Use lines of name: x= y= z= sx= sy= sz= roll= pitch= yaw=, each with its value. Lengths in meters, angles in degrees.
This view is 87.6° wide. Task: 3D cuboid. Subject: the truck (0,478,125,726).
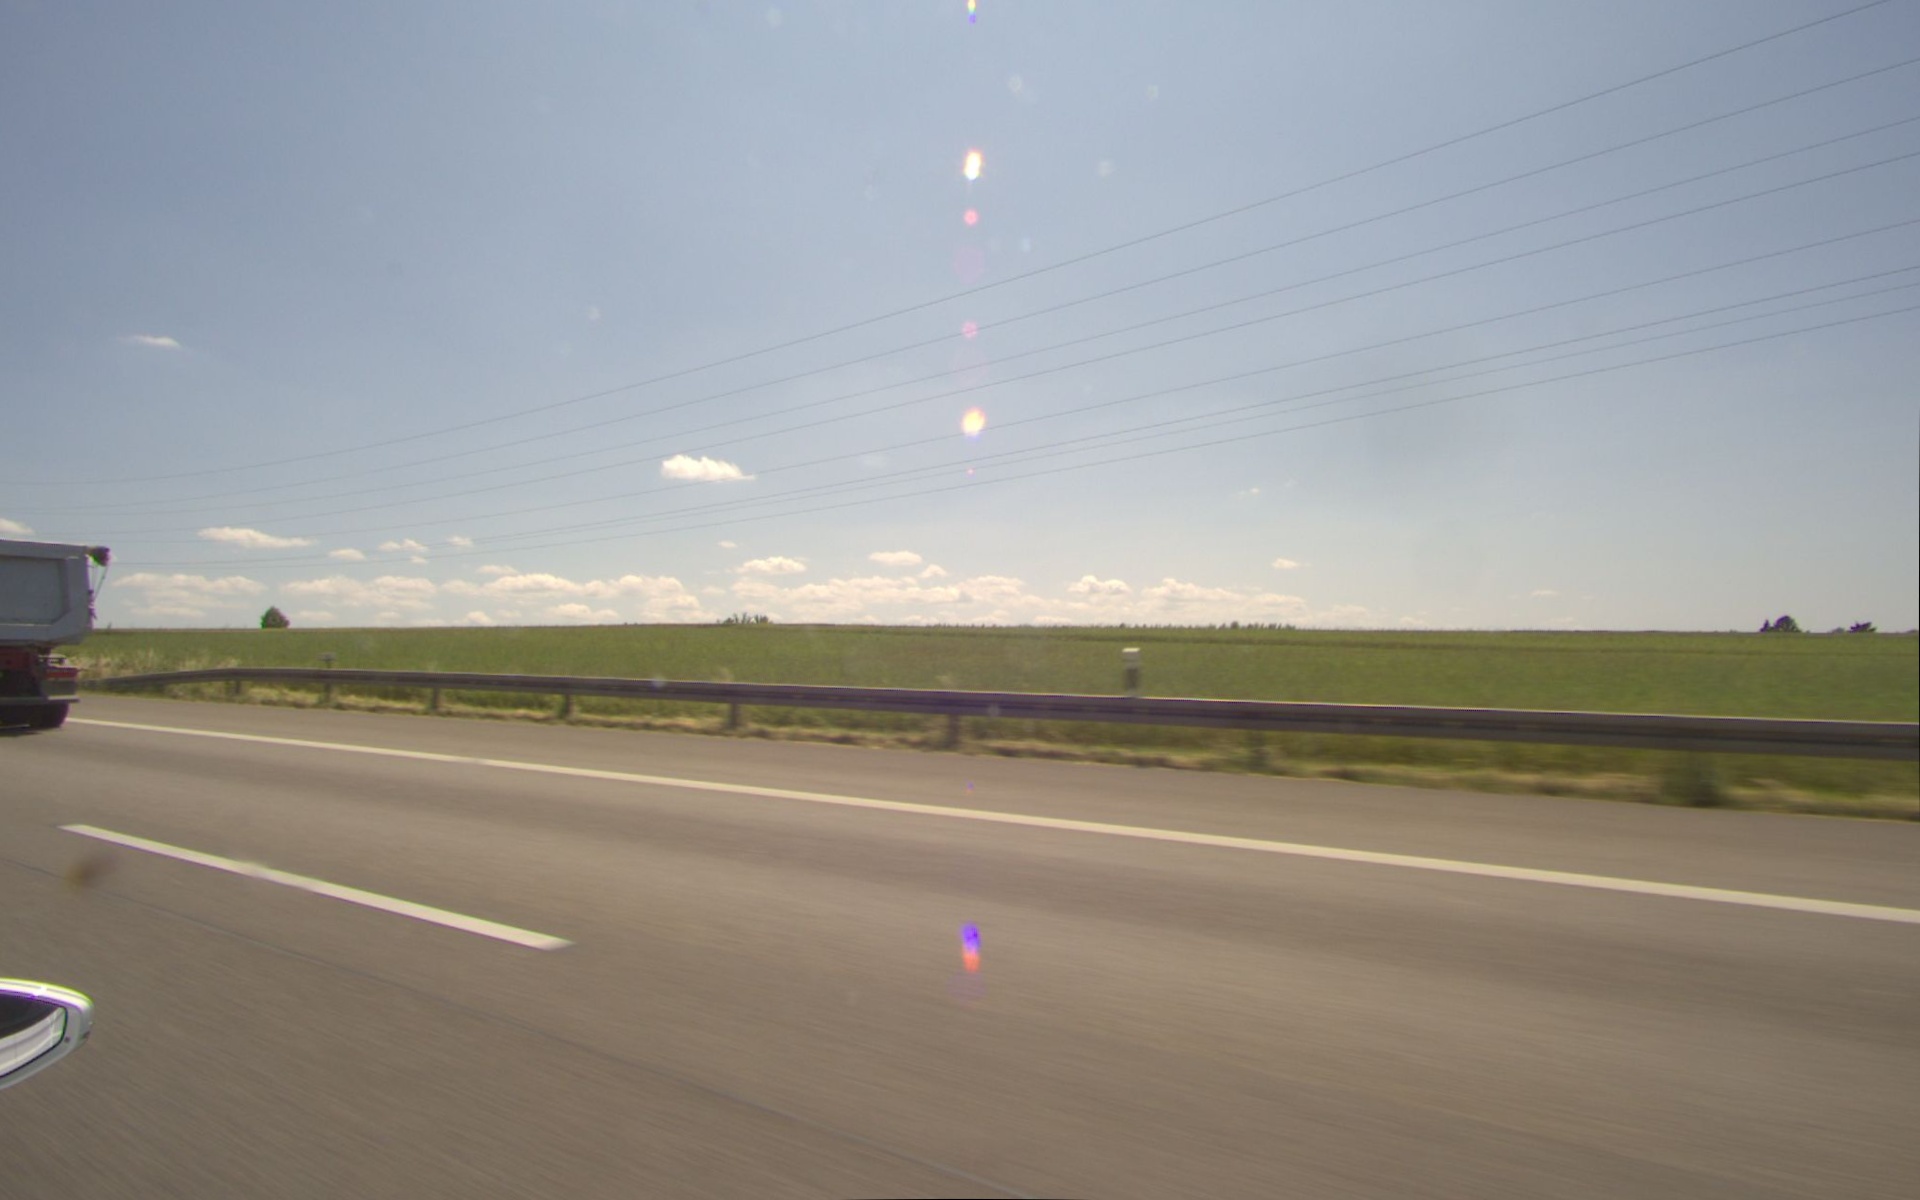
truck: x=-19.917 y=0.160 z=18.583 sx=12.576 sy=3.771 sz=2.861 roll=-1 pitch=-1 yaw=31
